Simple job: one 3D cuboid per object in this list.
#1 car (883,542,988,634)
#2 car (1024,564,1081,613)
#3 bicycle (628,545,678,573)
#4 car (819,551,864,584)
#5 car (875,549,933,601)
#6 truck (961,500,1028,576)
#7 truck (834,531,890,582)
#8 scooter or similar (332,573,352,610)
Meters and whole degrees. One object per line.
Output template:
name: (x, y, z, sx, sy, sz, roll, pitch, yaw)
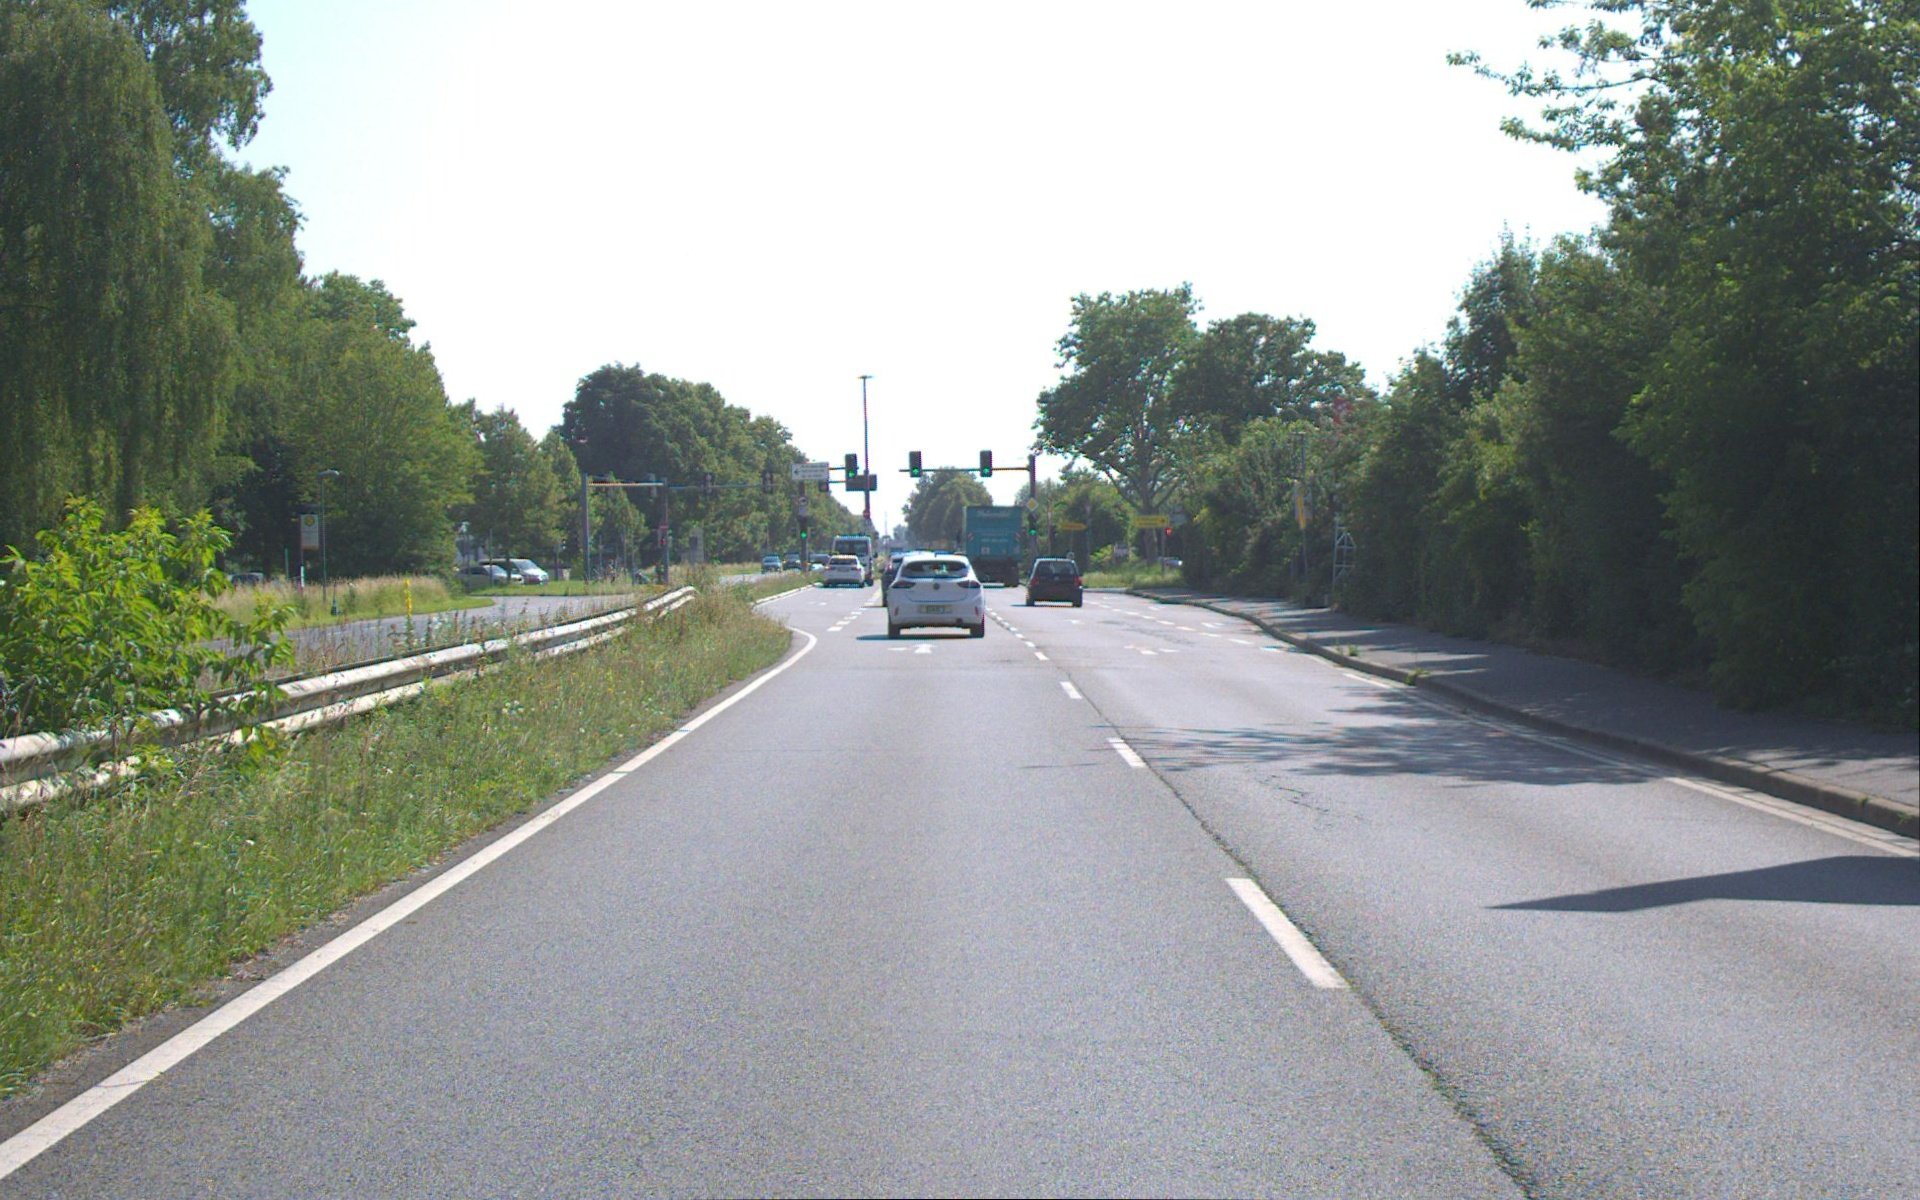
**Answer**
car: (-0.419, -0.248, 61.031, 1.798, 1.547, 4.000, 0, 1, 0)
car: (2.729, -0.335, 102.006, 1.572, 1.410, 3.277, 0, 0, 0)
bicycle: (-18.564, -2.470, 207.881, 2.796, 1.664, 1.134, -1, 1, 27)
car: (-5.372, -1.476, 156.533, 1.812, 1.459, 4.971, 1, 1, 1)
car: (-1.564, -0.696, 96.944, 1.572, 1.410, 3.277, 1, 0, -1)
truck: (1.587, -2.916, 161.588, 2.891, 3.417, 9.169, -1, 1, -1)
truck: (-4.654, -2.099, 163.935, 2.373, 2.381, 6.041, 1, 1, 1)
scooter or similar: (-20.030, -0.290, 111.430, 0.368, 1.182, 1.341, -3, 0, -1)
